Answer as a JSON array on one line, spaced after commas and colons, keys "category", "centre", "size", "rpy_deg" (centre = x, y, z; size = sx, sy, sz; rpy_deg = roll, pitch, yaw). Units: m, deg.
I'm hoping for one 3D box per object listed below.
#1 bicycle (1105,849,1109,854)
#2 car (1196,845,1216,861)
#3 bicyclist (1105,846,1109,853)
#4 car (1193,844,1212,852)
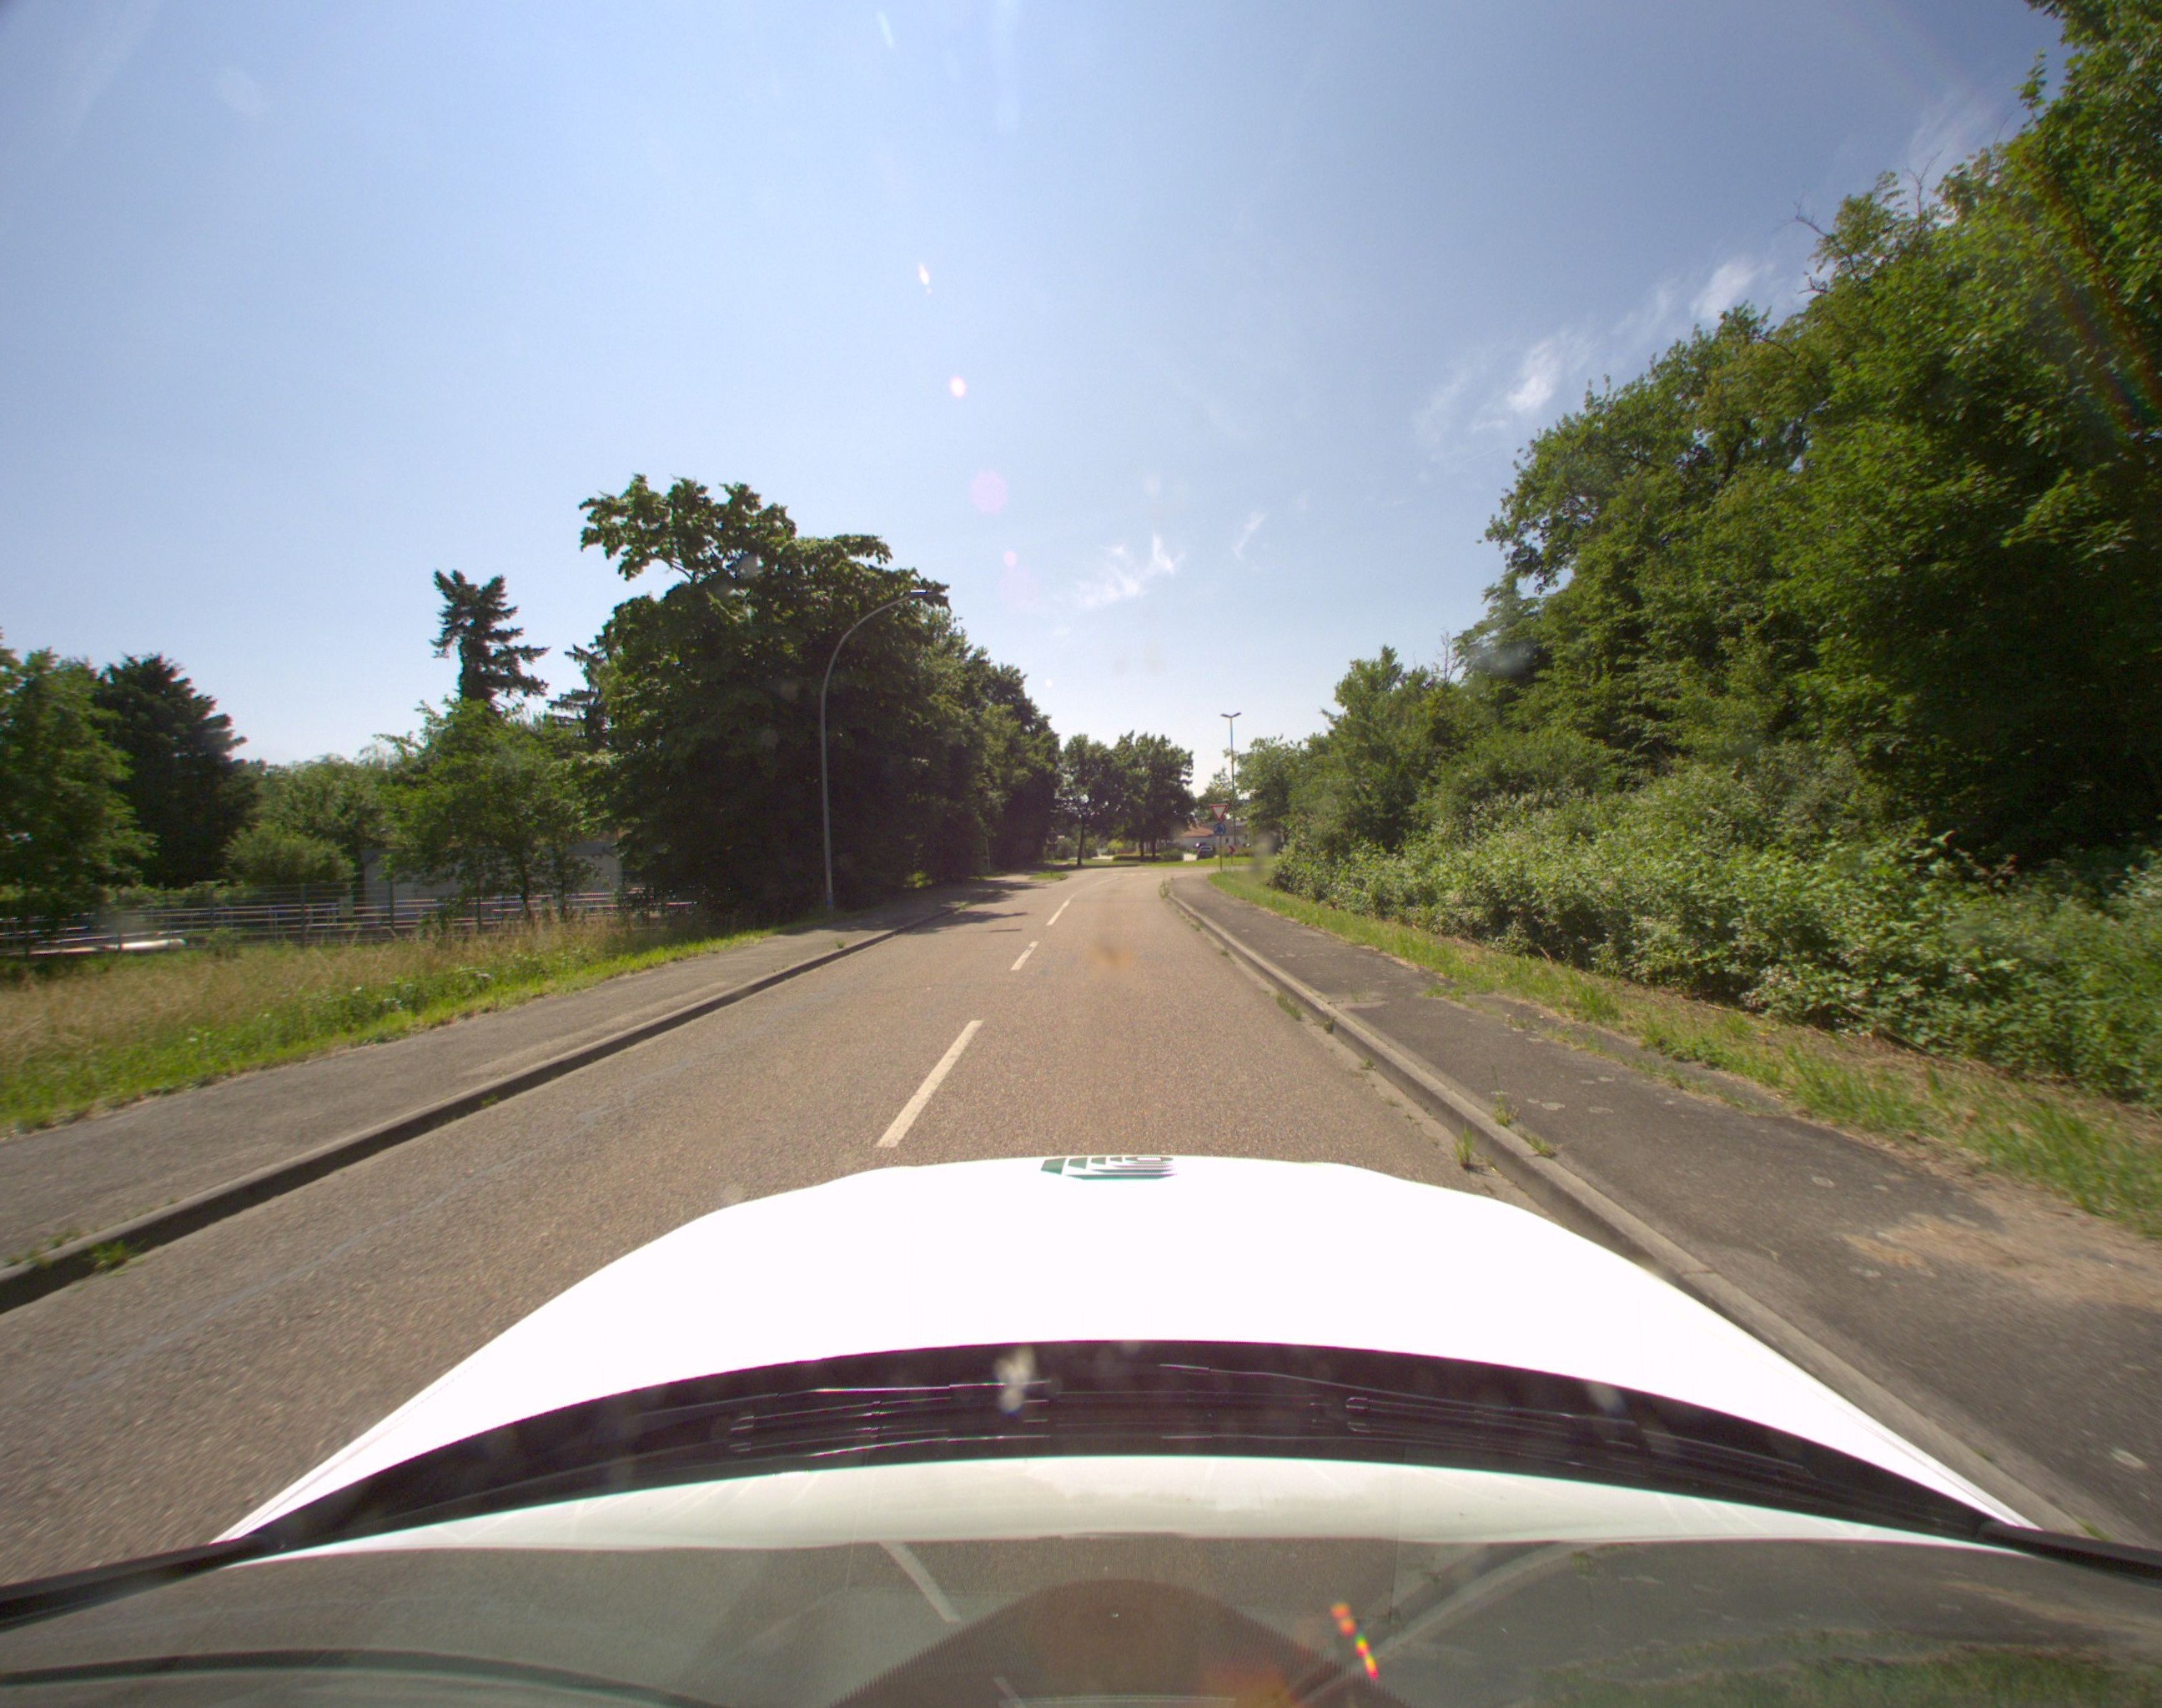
[{"category": "bicycle", "centre": [4.586, -0.442, 144.116], "size": [0.595, 0.929, 1.620], "rpy_deg": [-2, 0, 1]}, {"category": "car", "centre": [13.164, -0.126, 85.935], "size": [1.621, 1.486, 4.003], "rpy_deg": [-3, 0, 3]}, {"category": "bicyclist", "centre": [4.571, -0.858, 144.010], "size": [0.595, 1.164, 0.648], "rpy_deg": [-2, 0, 1]}, {"category": "car", "centre": [24.555, -1.206, 164.490], "size": [3.857, 1.542, 1.832], "rpy_deg": [-2, 0, -41]}]
